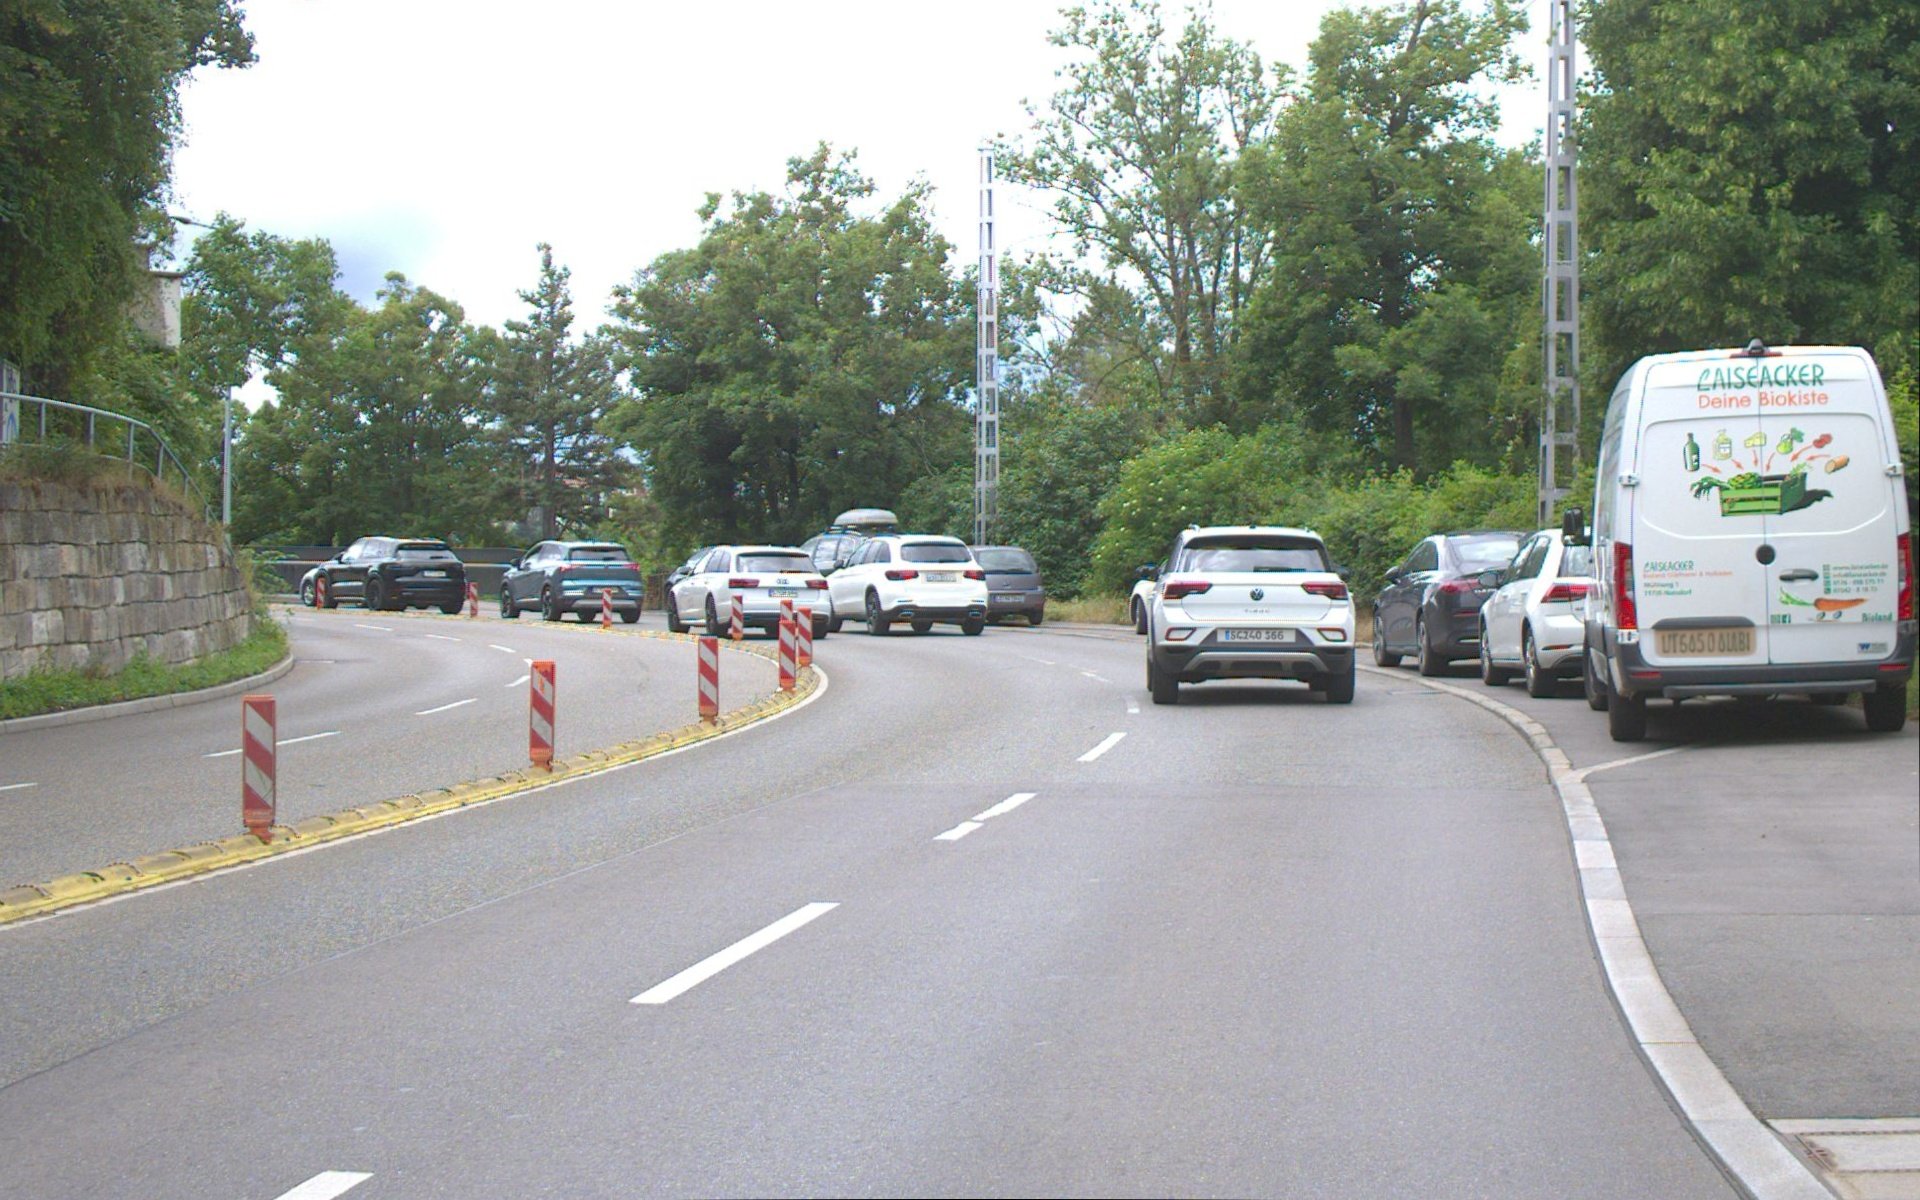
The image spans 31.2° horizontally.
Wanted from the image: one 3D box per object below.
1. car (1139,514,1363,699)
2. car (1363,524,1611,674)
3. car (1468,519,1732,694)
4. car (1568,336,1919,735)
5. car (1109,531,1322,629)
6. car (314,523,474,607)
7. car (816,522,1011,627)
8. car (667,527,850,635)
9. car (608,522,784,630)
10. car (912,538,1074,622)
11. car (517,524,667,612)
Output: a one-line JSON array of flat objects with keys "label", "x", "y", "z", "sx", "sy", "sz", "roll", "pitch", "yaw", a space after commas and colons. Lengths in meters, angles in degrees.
[{"label": "car", "x": 2.642, "y": 0.031, "z": 31.125, "sx": 1.867, "sy": 1.531, "sz": 3.803, "roll": 1, "pitch": 1, "yaw": 5}, {"label": "car", "x": 5.401, "y": -0.046, "z": 35.786, "sx": 1.700, "sy": 1.459, "sz": 4.664, "roll": 0, "pitch": 1, "yaw": -2}, {"label": "car", "x": 5.654, "y": 0.037, "z": 30.769, "sx": 1.700, "sy": 1.459, "sz": 3.835, "roll": -1, "pitch": 1, "yaw": 1}, {"label": "car", "x": 5.601, "y": -0.444, "z": 25.018, "sx": 2.085, "sy": 2.515, "sz": 5.843, "roll": -1, "pitch": 1, "yaw": 8}, {"label": "car", "x": 3.854, "y": -0.320, "z": 52.505, "sx": 1.776, "sy": 1.413, "sz": 4.001, "roll": -1, "pitch": 1, "yaw": -19}, {"label": "car", "x": -12.354, "y": -0.769, "z": 74.892, "sx": 1.815, "sy": 1.684, "sz": 4.000, "roll": 3, "pitch": -1, "yaw": -35}, {"label": "car", "x": -0.815, "y": -0.424, "z": 56.814, "sx": 1.993, "sy": 1.581, "sz": 4.001, "roll": 3, "pitch": 0, "yaw": -19}, {"label": "car", "x": -3.246, "y": -0.305, "z": 54.650, "sx": 1.906, "sy": 1.568, "sz": 4.001, "roll": 3, "pitch": 0, "yaw": -18}, {"label": "car", "x": -4.676, "y": -0.424, "z": 60.360, "sx": 1.993, "sy": 1.733, "sz": 4.001, "roll": 3, "pitch": 0, "yaw": -20}, {"label": "car", "x": 0.571, "y": -0.378, "z": 63.242, "sx": 1.640, "sy": 1.459, "sz": 4.001, "roll": 1, "pitch": 0, "yaw": -20}, {"label": "car", "x": -7.095, "y": -0.604, "z": 65.933, "sx": 1.993, "sy": 1.536, "sz": 4.011, "roll": 3, "pitch": 0, "yaw": -18}]
